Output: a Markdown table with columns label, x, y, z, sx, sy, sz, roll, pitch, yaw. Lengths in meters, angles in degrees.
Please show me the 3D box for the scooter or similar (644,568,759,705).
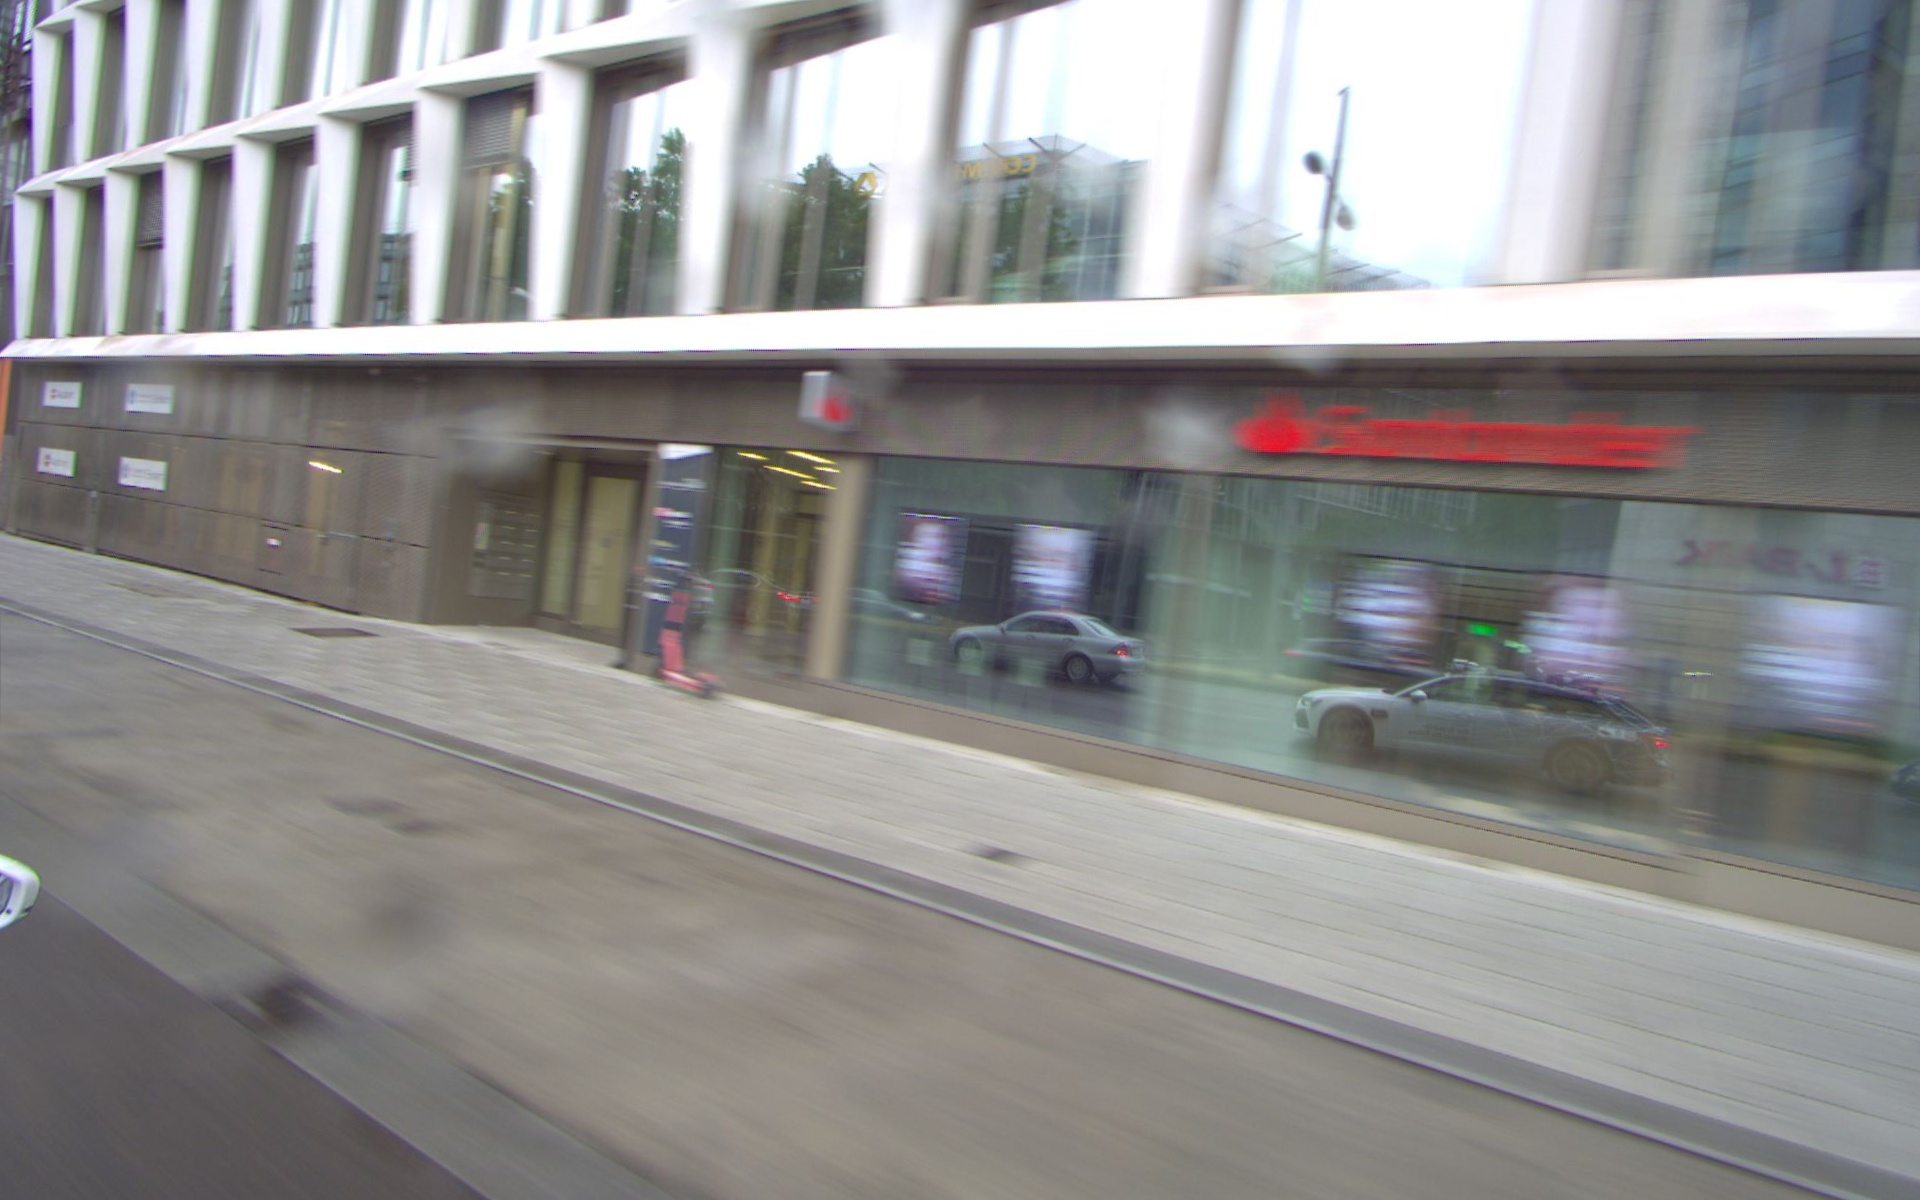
| label | x | y | z | sx | sy | sz | roll | pitch | yaw |
| --- | --- | --- | --- | --- | --- | --- | --- | --- | --- |
| scooter or similar | -2.662 | 0.358 | 10.323 | 1.172 | 1.251 | 0.411 | 7 | 0 | 40 |
